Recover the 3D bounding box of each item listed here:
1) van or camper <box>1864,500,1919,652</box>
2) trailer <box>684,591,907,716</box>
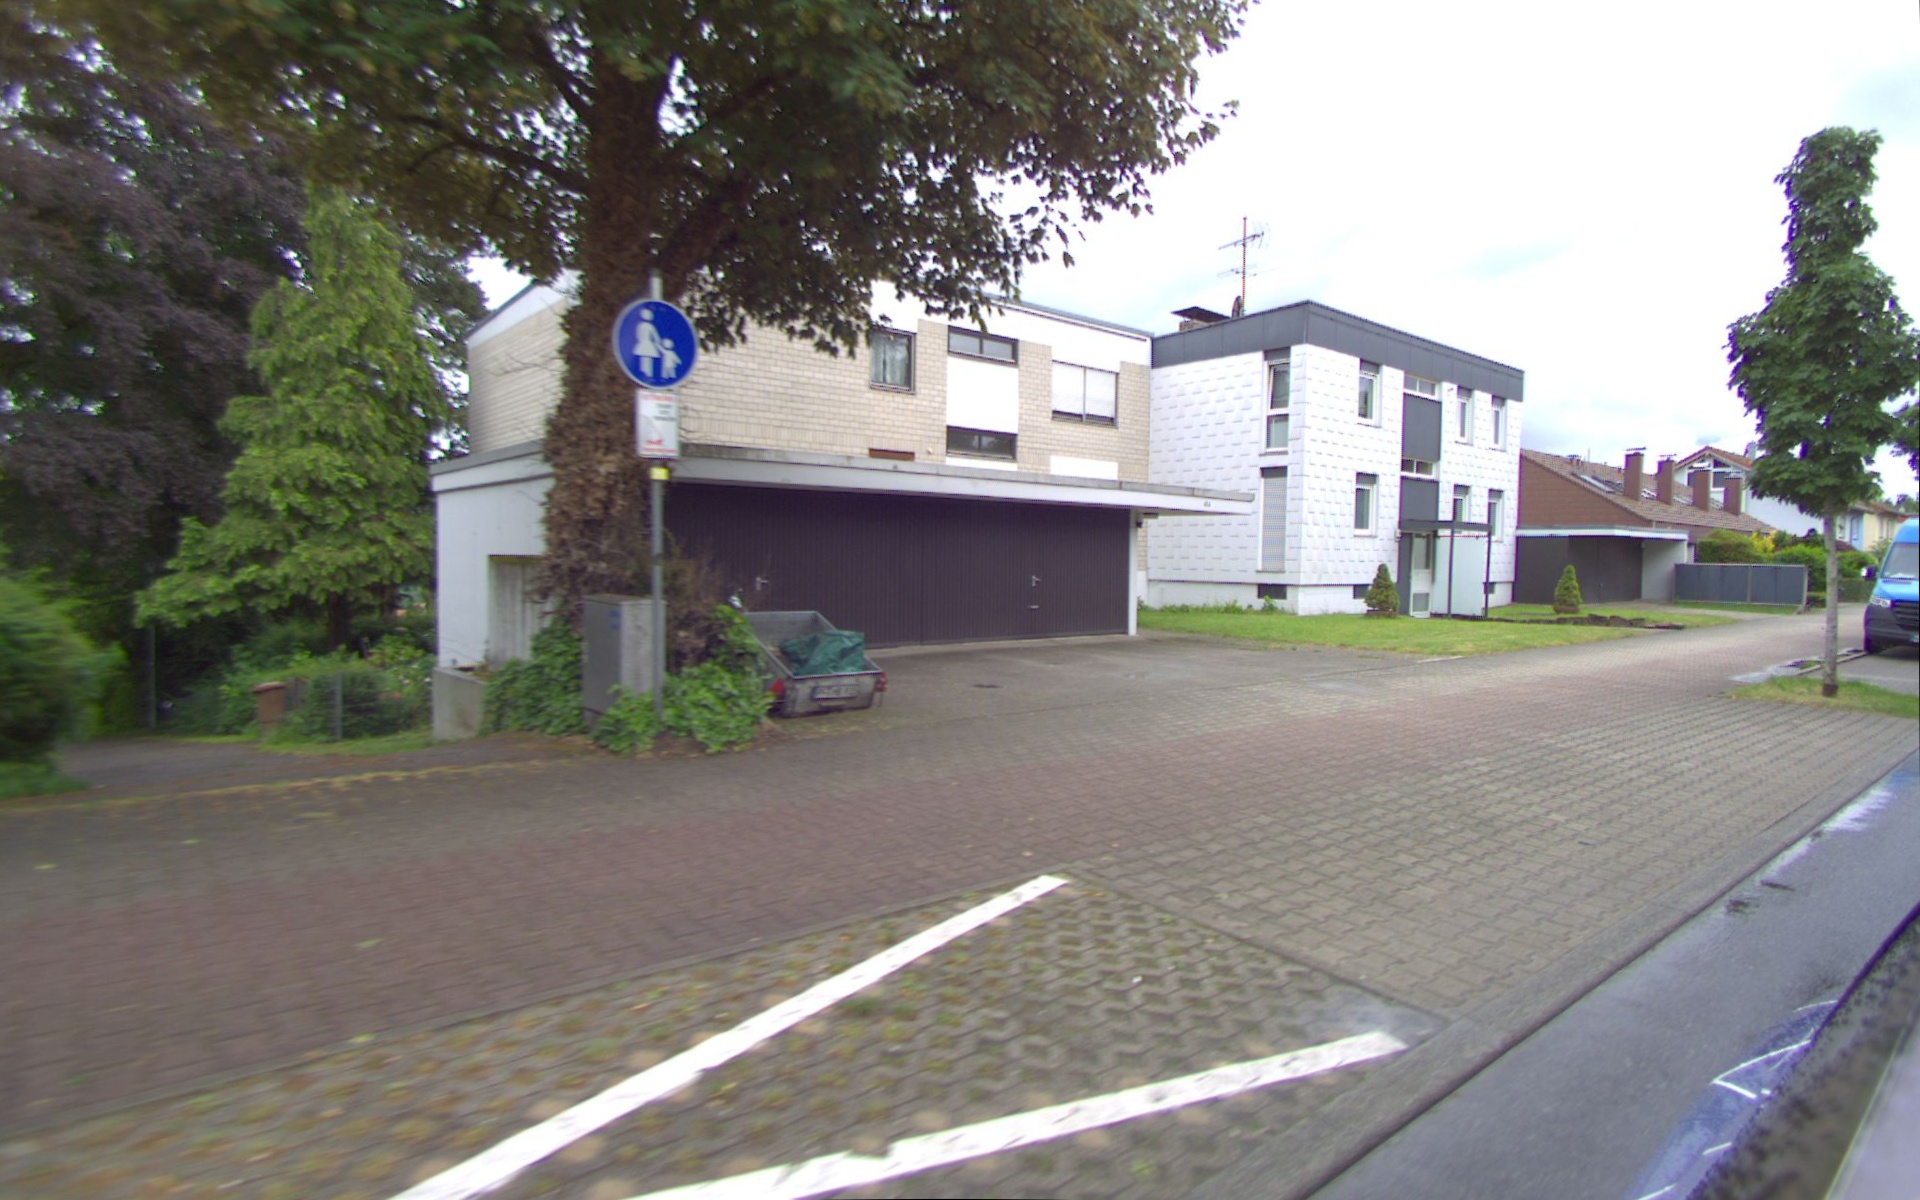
[{"bbox_3d":[19.177,-0.449,19.156,5.679,2.640,2.149,-1,4,-40],"label":"van or camper"},{"bbox_3d":[-1.650,0.445,9.828,1.247,0.970,2.181,0,3,-38],"label":"trailer"}]
